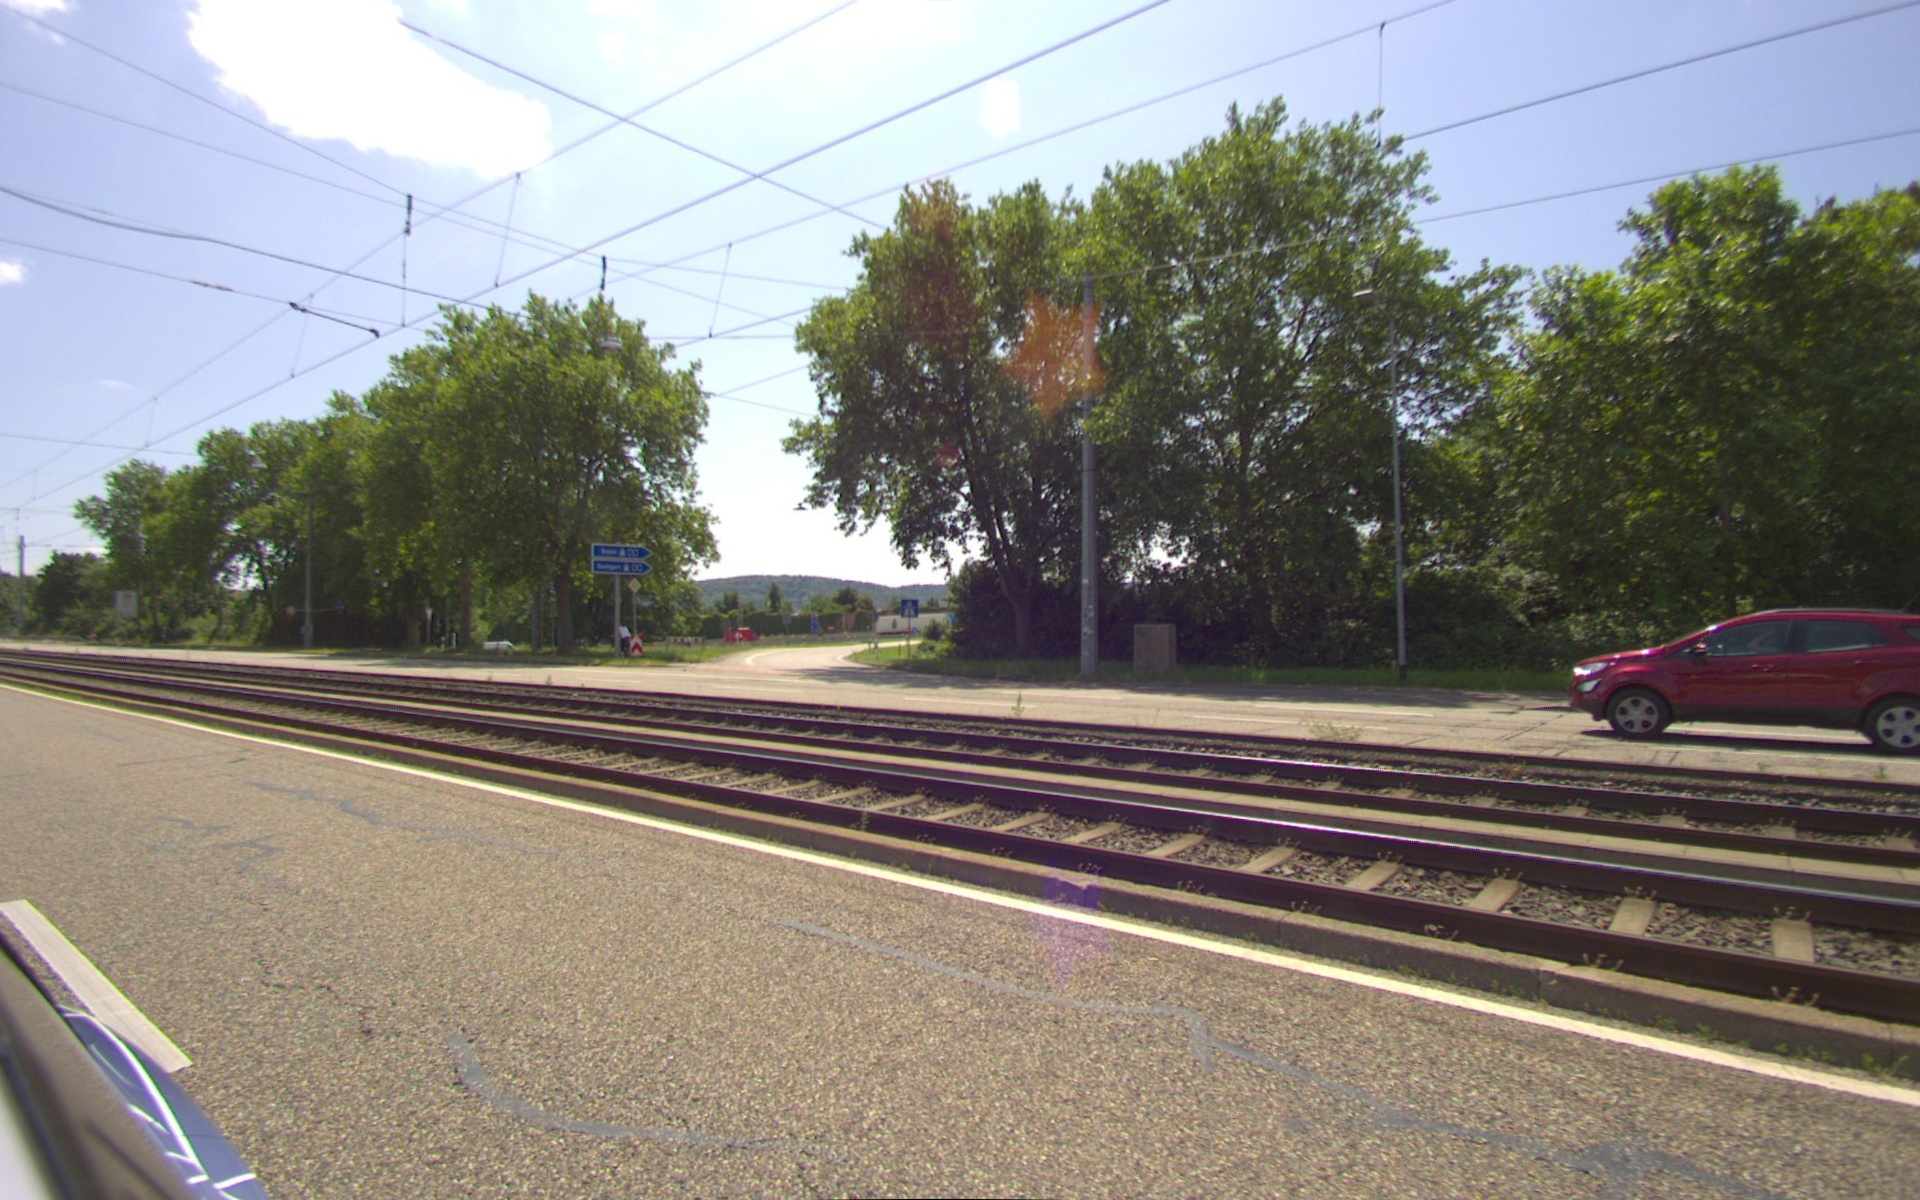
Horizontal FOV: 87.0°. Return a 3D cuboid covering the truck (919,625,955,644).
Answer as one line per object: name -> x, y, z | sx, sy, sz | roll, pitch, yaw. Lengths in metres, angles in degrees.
truck -> -4.346, 6.500, 191.019 | 5.909, 3.454, 3.146 | -1, -1, -20

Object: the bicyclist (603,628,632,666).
bicyclist -> -14.076, 1.932, 41.597 | 1.159, 1.529, 0.615 | -2, -2, 38

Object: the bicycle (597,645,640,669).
bicycle -> -14.040, 2.320, 41.577 | 2.088, 0.946, 0.615 | -2, -2, 39

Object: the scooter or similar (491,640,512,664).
scooter or similar -> -23.007, 2.620, 50.762 | 1.233, 1.159, 0.457 | -2, -1, 38

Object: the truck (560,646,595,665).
truck -> -72.333, 10.429, 191.335 | 6.035, 3.408, 3.340 | 0, -2, -21

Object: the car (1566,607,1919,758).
car -> 10.052, 0.958, 12.484 | 4.206, 1.638, 1.783 | -2, -3, 39

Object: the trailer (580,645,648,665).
trailer -> -66.193, 10.511, 193.652 | 12.165, 3.466, 3.348 | 0, -2, -21

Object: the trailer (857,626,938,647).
trailer -> -11.622, 6.739, 188.306 | 14.566, 3.454, 3.146 | -1, -1, -20

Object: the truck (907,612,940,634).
truck -> -7.538, 4.737, 209.474 | 5.908, 4.188, 3.146 | -1, -1, -23
